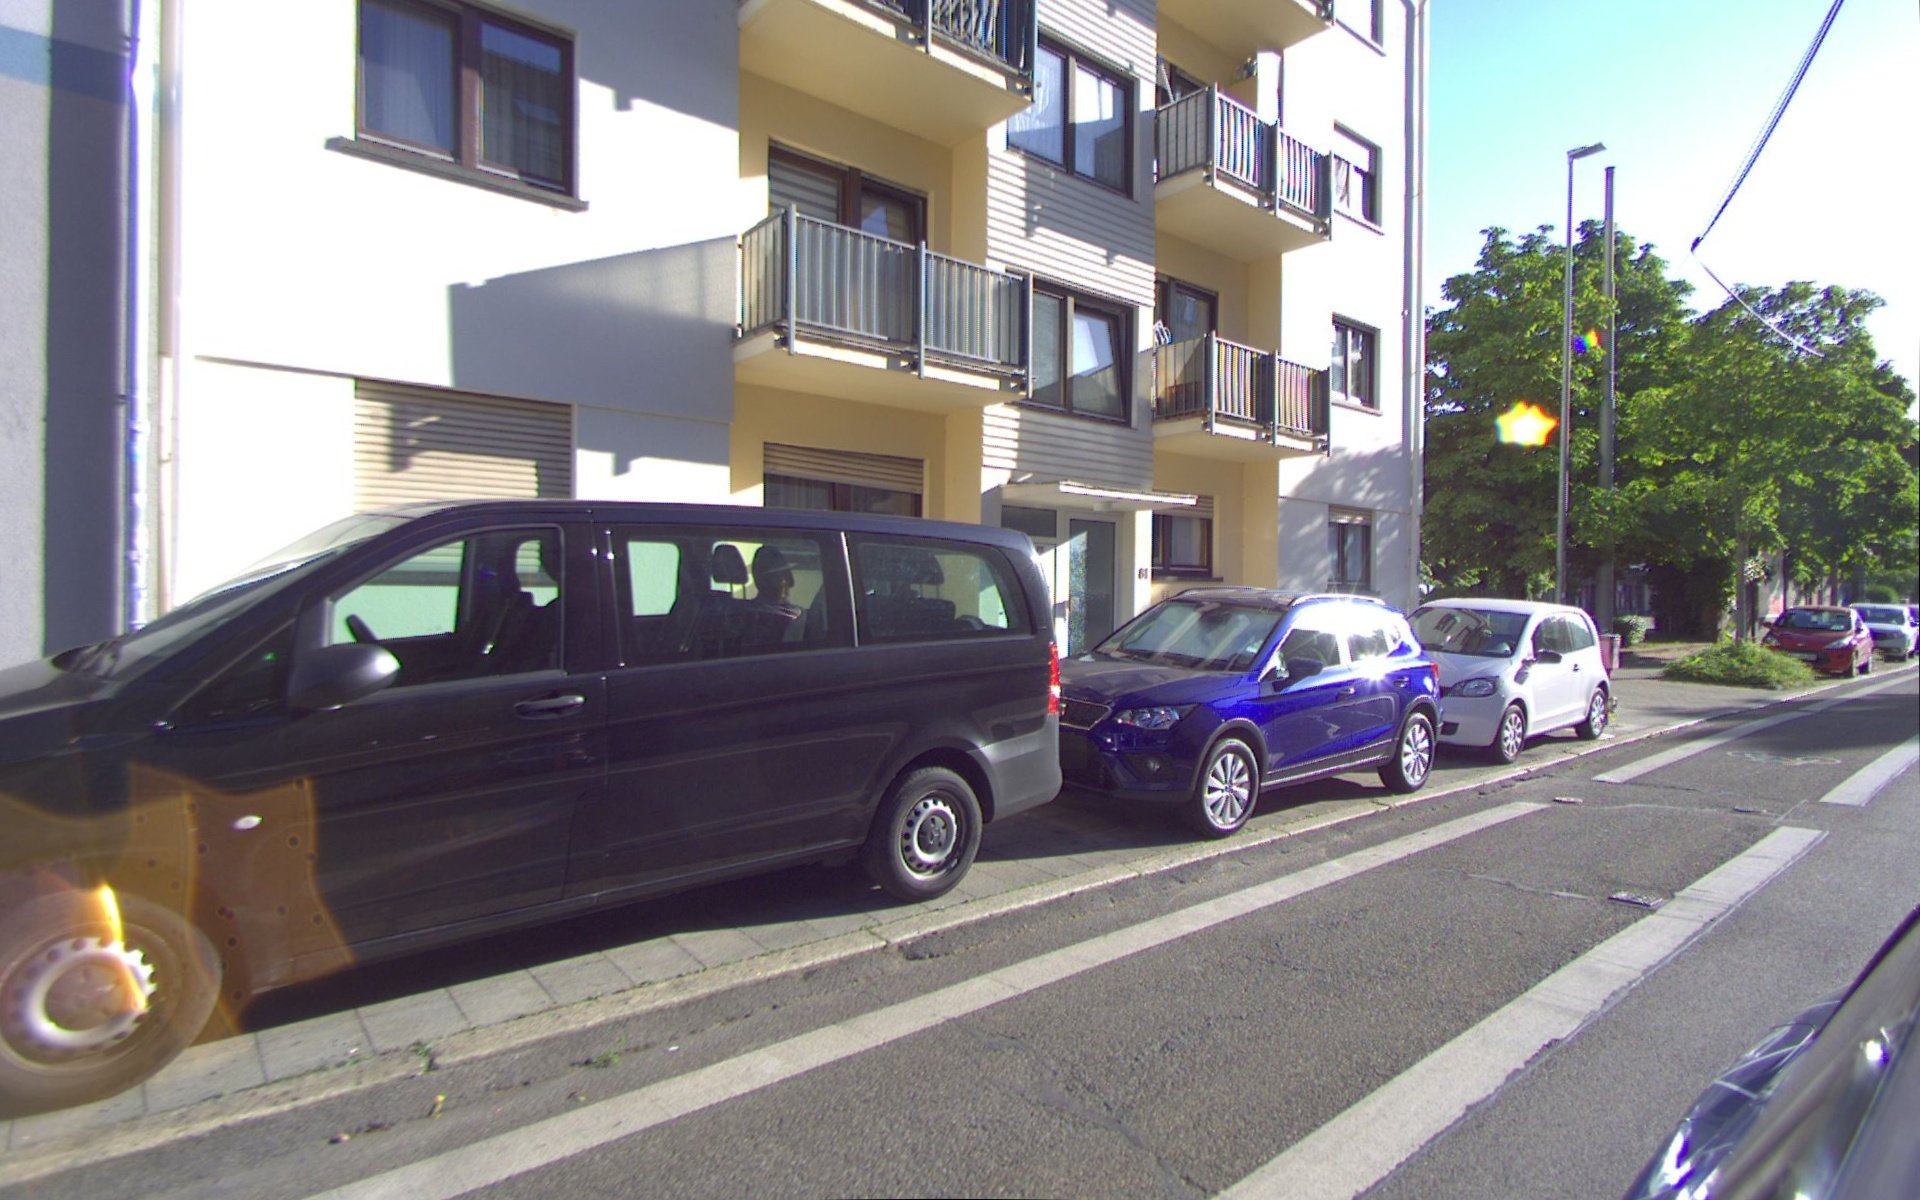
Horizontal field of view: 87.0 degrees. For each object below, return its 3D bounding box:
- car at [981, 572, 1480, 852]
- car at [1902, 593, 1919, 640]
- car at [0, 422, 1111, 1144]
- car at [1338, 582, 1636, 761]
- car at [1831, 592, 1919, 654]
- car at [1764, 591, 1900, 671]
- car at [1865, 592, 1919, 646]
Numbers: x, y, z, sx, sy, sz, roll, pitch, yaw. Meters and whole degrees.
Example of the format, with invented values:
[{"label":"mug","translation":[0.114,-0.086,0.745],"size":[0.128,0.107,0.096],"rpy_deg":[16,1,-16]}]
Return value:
[{"label":"car","translation":[2.253,0.622,7.777],"size":[4.144,1.590,1.612],"rpy_deg":[0,2,-40]},{"label":"car","translation":[34.940,0.581,35.842],"size":[4.400,1.590,1.827],"rpy_deg":[0,2,-41]},{"label":"car","translation":[-1.702,0.456,4.680],"size":[4.914,1.945,1.934],"rpy_deg":[0,2,-39]},{"label":"car","translation":[5.695,0.624,10.786],"size":[3.568,1.561,1.557],"rpy_deg":[0,2,-40]},{"label":"car","translation":[26.644,0.603,29.093],"size":[4.400,1.590,1.827],"rpy_deg":[0,2,-41]},{"label":"car","translation":[19.643,0.619,22.739],"size":[4.399,1.590,1.612],"rpy_deg":[0,2,-40]},{"label":"car","translation":[30.665,0.577,32.519],"size":[4.400,1.590,1.827],"rpy_deg":[0,2,-41]}]
